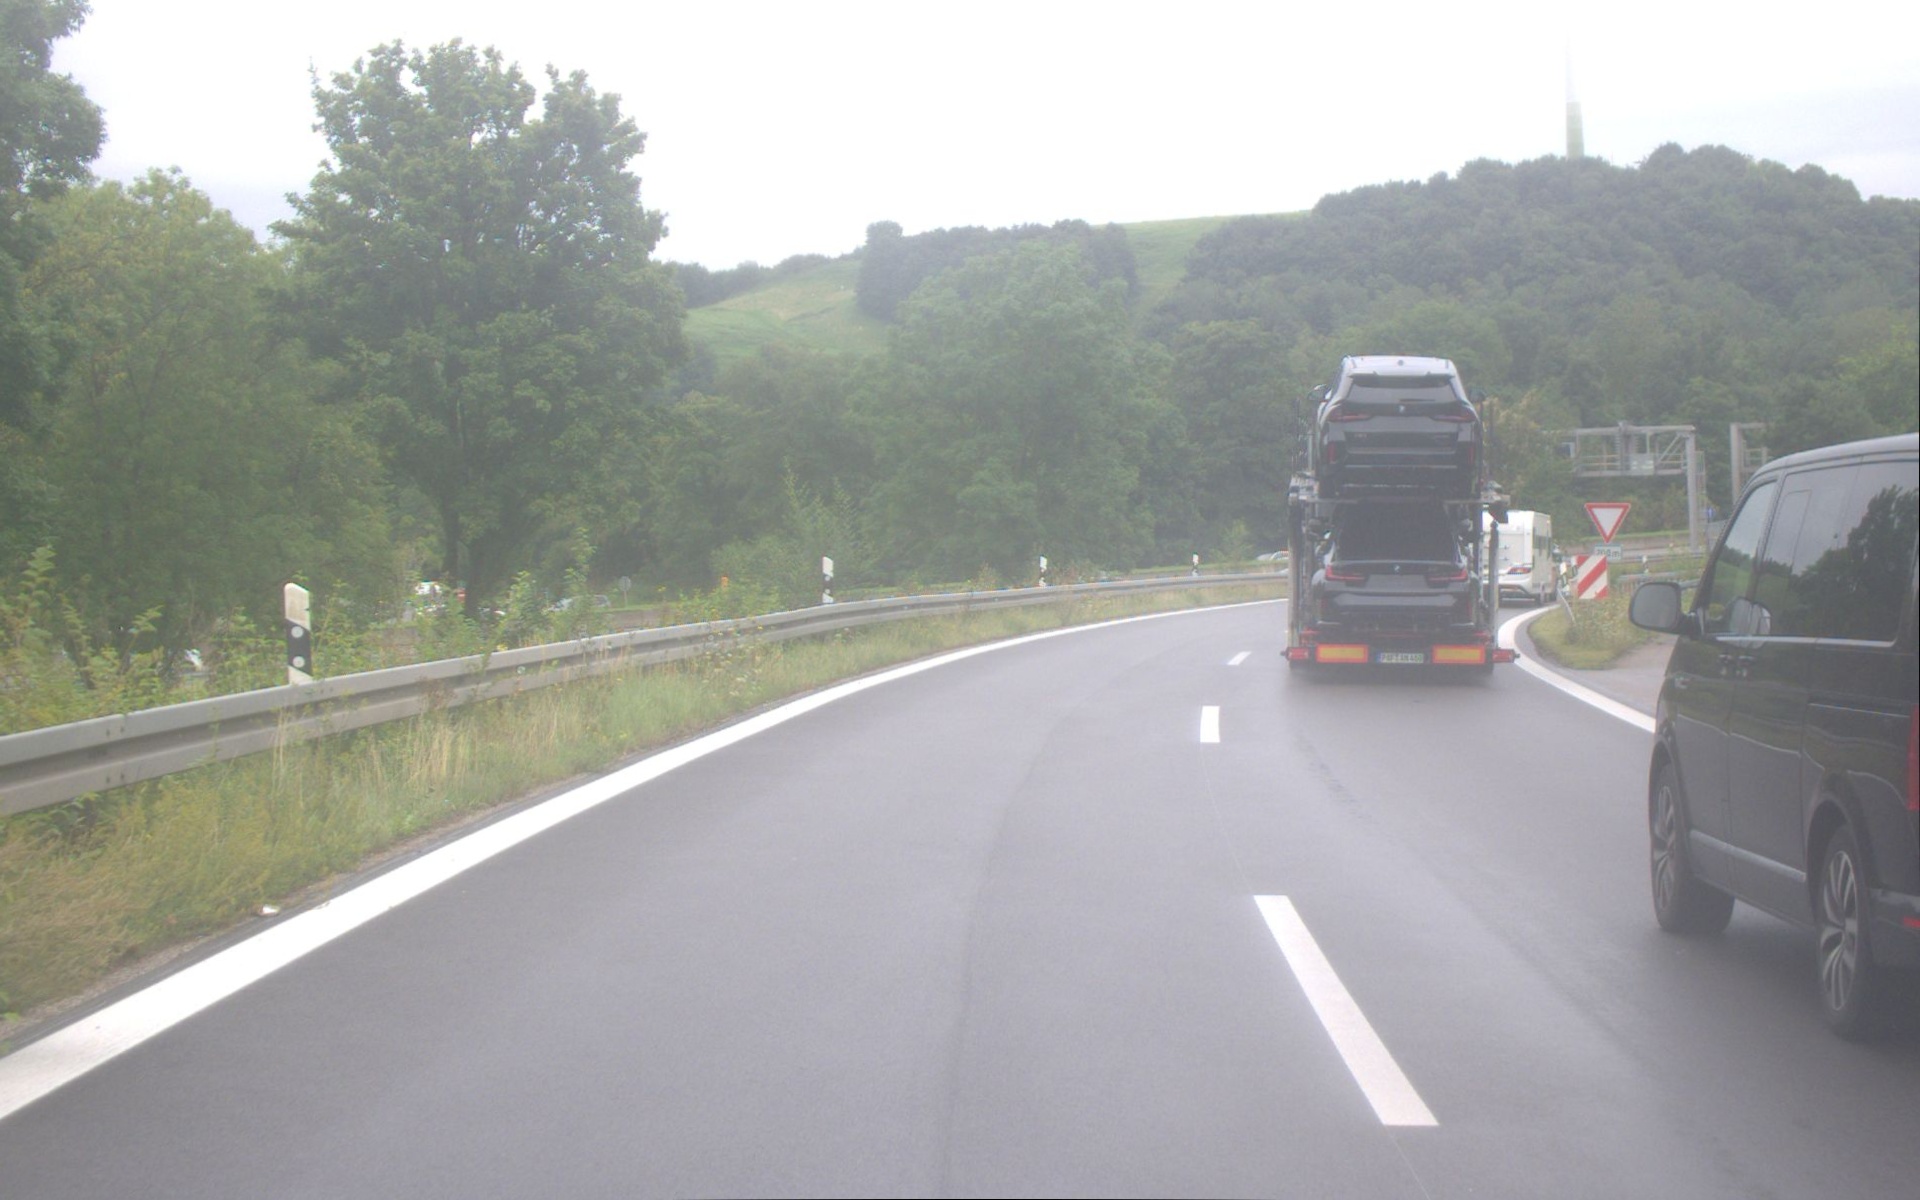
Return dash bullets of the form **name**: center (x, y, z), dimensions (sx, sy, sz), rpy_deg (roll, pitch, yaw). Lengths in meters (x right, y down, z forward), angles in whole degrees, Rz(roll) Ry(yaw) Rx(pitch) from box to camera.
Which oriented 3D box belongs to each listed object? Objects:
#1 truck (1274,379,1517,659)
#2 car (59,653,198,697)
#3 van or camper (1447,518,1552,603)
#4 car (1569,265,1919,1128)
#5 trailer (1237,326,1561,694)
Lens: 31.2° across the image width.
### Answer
- **truck**: center (6.955, -1.256, 55.292), dimensions (3.395, 3.986, 10.844), rpy_deg (1, 1, 7)
- **car**: center (-34.758, 3.116, 143.791), dimensions (5.309, 1.711, 1.999), rpy_deg (0, 0, -42)
- **van or camper**: center (14.544, -1.067, 92.450), dimensions (2.094, 2.224, 4.427), rpy_deg (1, 1, 18)
- **car**: center (3.637, 0.211, 11.837), dimensions (2.110, 2.257, 5.896), rpy_deg (1, 1, 1)
- **trailer**: center (5.543, -1.084, 43.873), dimensions (3.450, 3.986, 12.024), rpy_deg (1, 1, 7)
